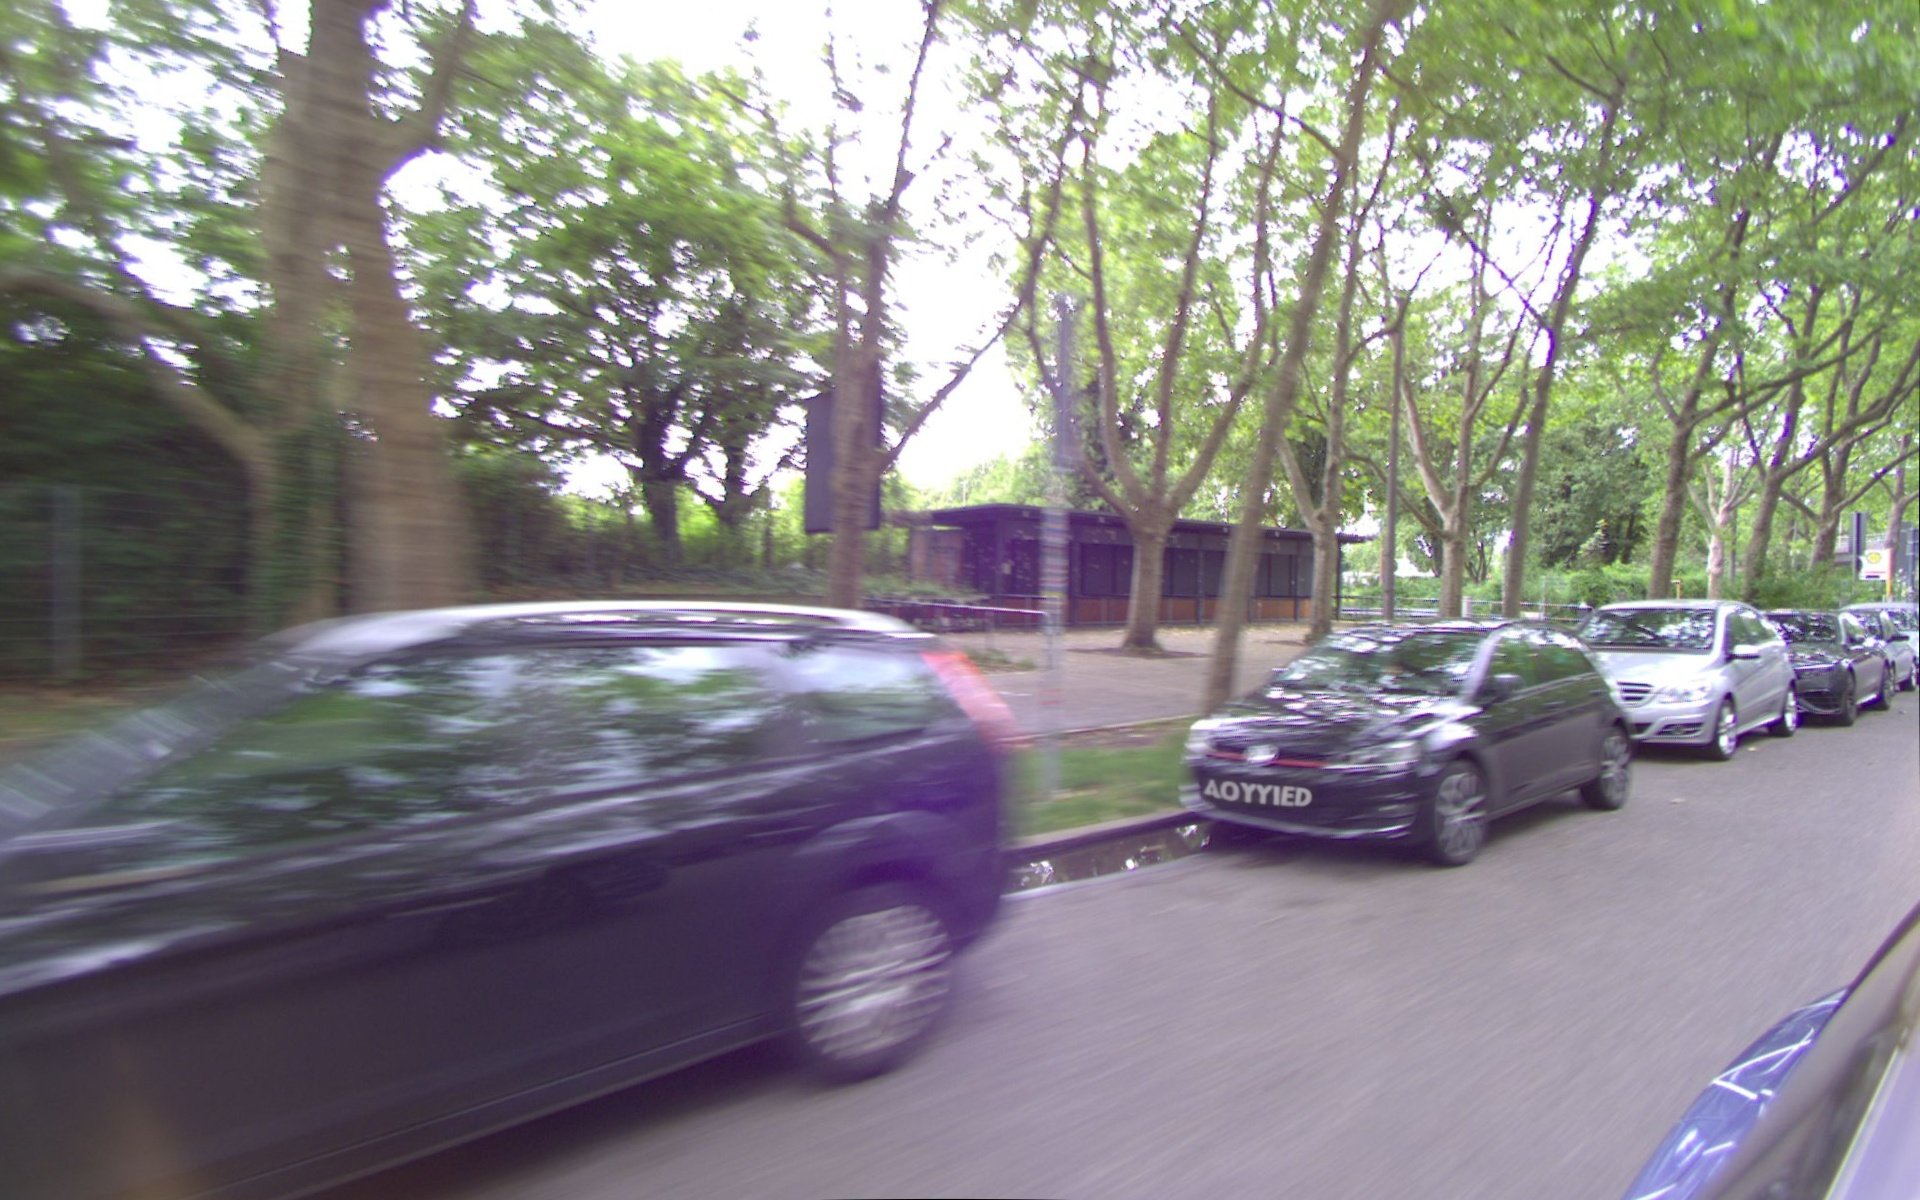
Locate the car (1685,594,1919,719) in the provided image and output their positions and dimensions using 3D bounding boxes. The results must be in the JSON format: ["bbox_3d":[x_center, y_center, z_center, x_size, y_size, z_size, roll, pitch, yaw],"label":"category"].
[{"bbox_3d":[12.116,0.686,14.407,4.893,1.496,1.733,0,-1,-40],"label":"car"}]

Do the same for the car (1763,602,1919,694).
[{"bbox_3d":[15.804,0.768,17.863,4.007,1.439,1.733,0,-1,-39],"label":"car"}]

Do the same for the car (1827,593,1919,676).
[{"bbox_3d":[19.521,0.672,21.053,4.010,1.590,1.732,0,-1,-42],"label":"car"}]

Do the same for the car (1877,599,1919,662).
[{"bbox_3d":[23.952,0.706,24.806,4.009,1.488,1.732,0,-1,-41],"label":"car"}]

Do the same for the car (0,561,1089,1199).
[{"bbox_3d":[-1.718,0.728,3.100,4.320,1.573,1.779,0,-1,-41],"label":"car"}]

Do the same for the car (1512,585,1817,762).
[{"bbox_3d":[8.045,0.695,11.421,4.149,1.638,1.782,0,-1,-40],"label":"car"}]

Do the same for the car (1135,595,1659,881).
[{"bbox_3d":[3.282,0.728,7.253,4.076,1.490,1.742,0,-1,-39],"label":"car"}]
